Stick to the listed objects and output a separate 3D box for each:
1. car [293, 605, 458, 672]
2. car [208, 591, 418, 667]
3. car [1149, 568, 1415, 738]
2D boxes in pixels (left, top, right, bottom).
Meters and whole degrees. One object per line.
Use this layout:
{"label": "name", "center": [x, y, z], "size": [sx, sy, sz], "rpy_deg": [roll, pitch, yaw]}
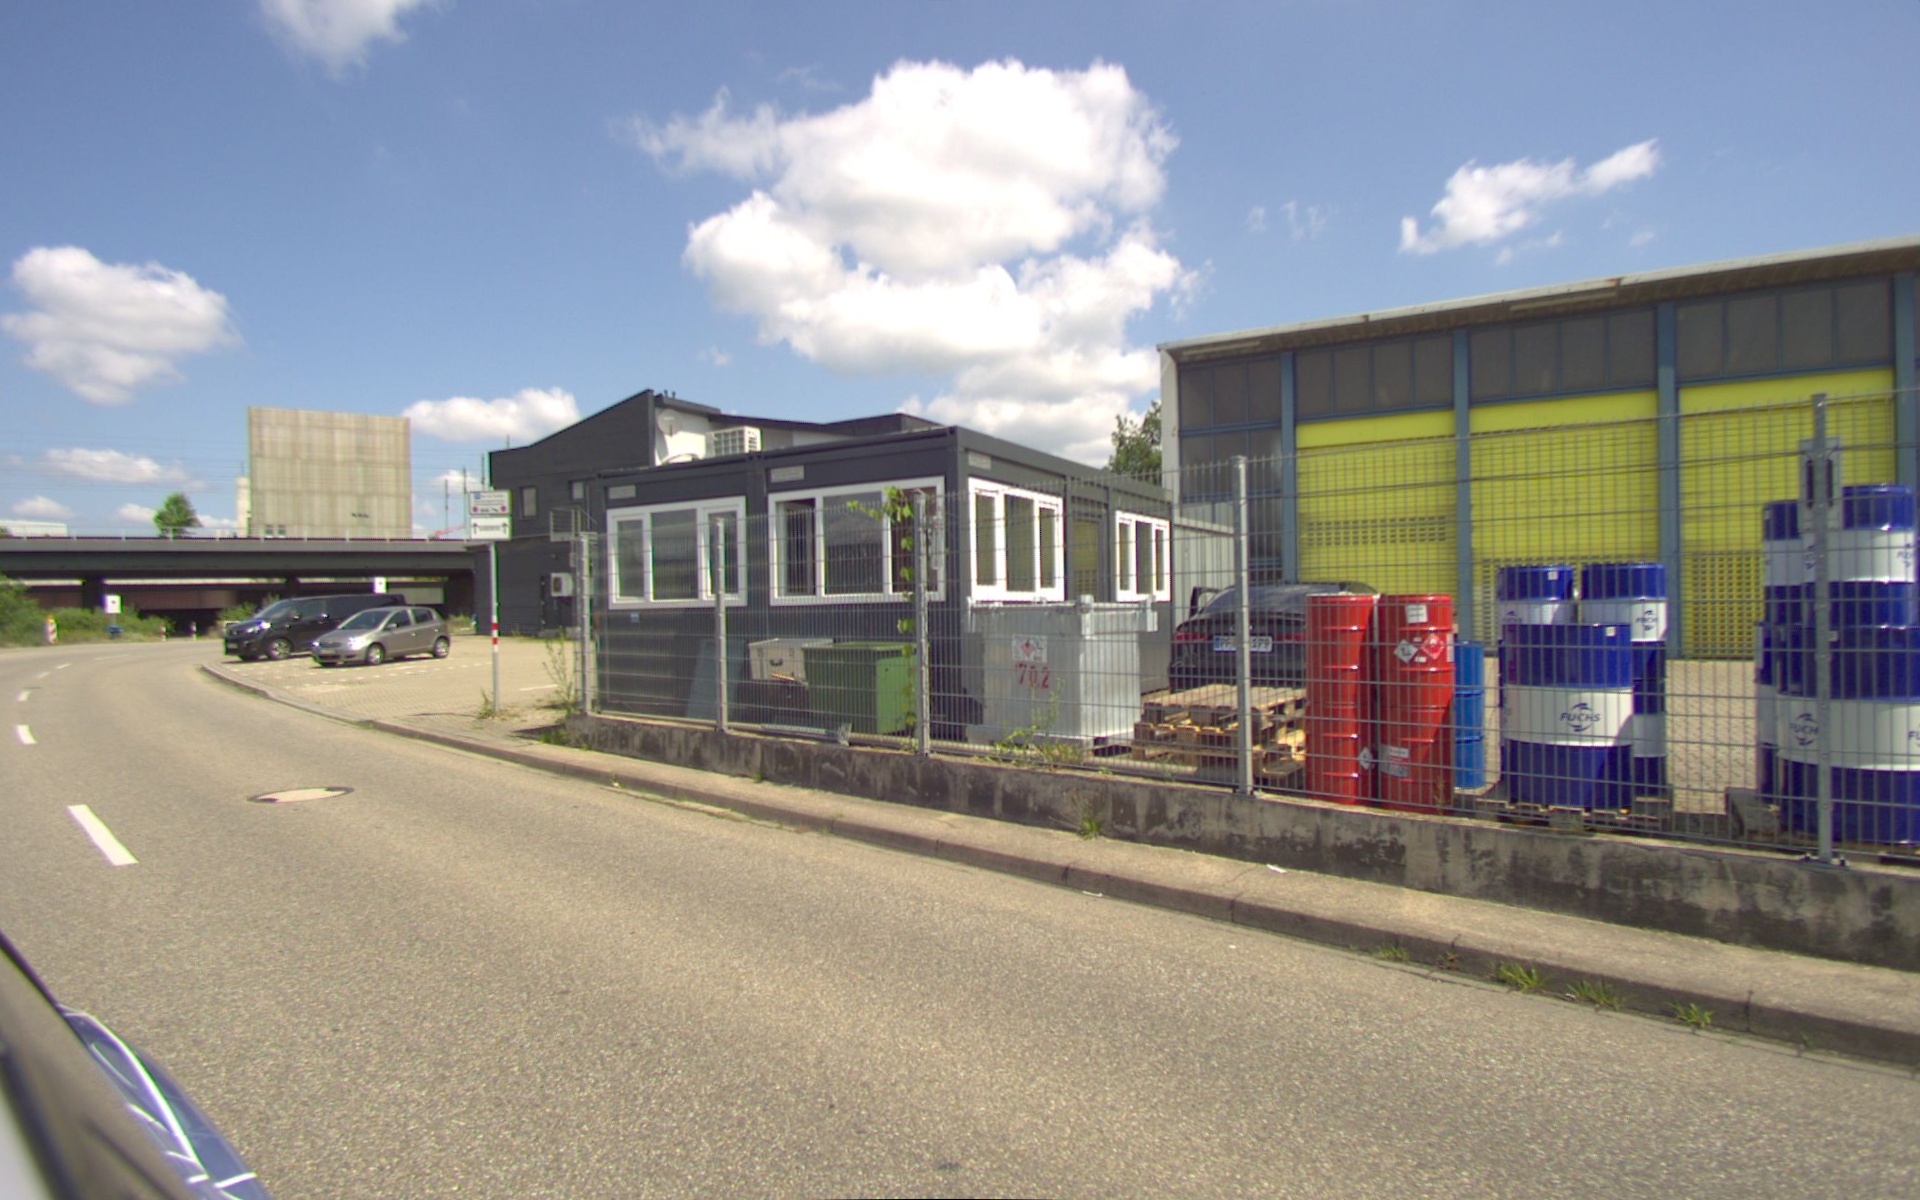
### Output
{"label": "car", "center": [-15.613, 0.979, 27.239], "size": [1.779, 1.487, 3.680], "rpy_deg": [-2, 2, 13]}
{"label": "car", "center": [-20.457, 0.837, 32.296], "size": [1.991, 1.929, 5.294], "rpy_deg": [-1, 3, 28]}
{"label": "car", "center": [3.474, 0.390, 10.357], "size": [1.727, 1.342, 4.168], "rpy_deg": [2, 1, 30]}
